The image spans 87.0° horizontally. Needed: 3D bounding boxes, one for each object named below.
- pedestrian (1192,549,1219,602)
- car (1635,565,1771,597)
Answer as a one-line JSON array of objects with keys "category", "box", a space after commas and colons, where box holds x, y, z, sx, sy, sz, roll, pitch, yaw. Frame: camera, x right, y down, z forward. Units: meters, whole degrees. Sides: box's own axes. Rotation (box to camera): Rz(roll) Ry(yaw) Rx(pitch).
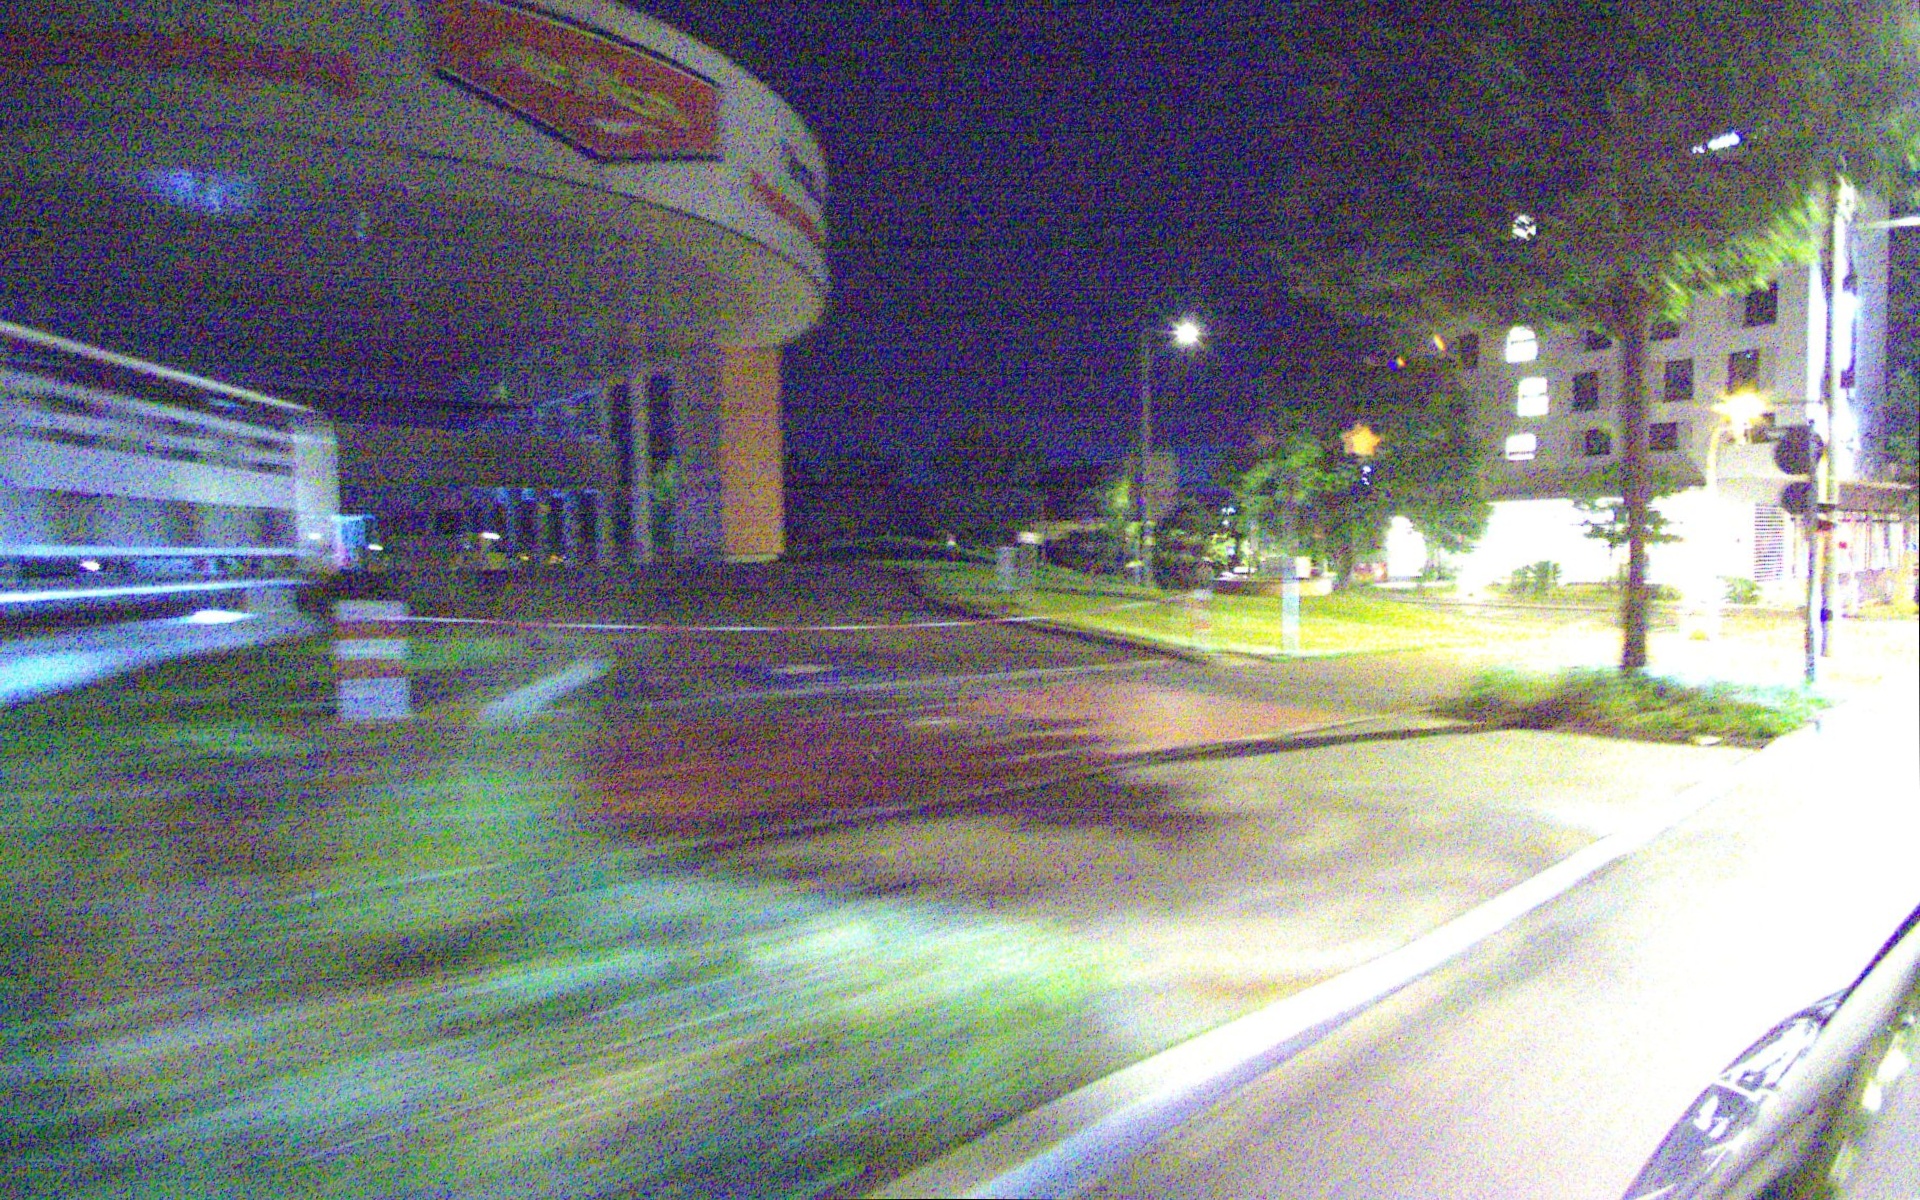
[{"category": "pedestrian", "box": [8.982, -0.902, 37.000, 0.719, 1.900, 0.663, -1, 1, -42]}, {"category": "car", "box": [28.814, -0.750, 39.333, 3.935, 1.047, 1.480, 2, 1, 10]}]
